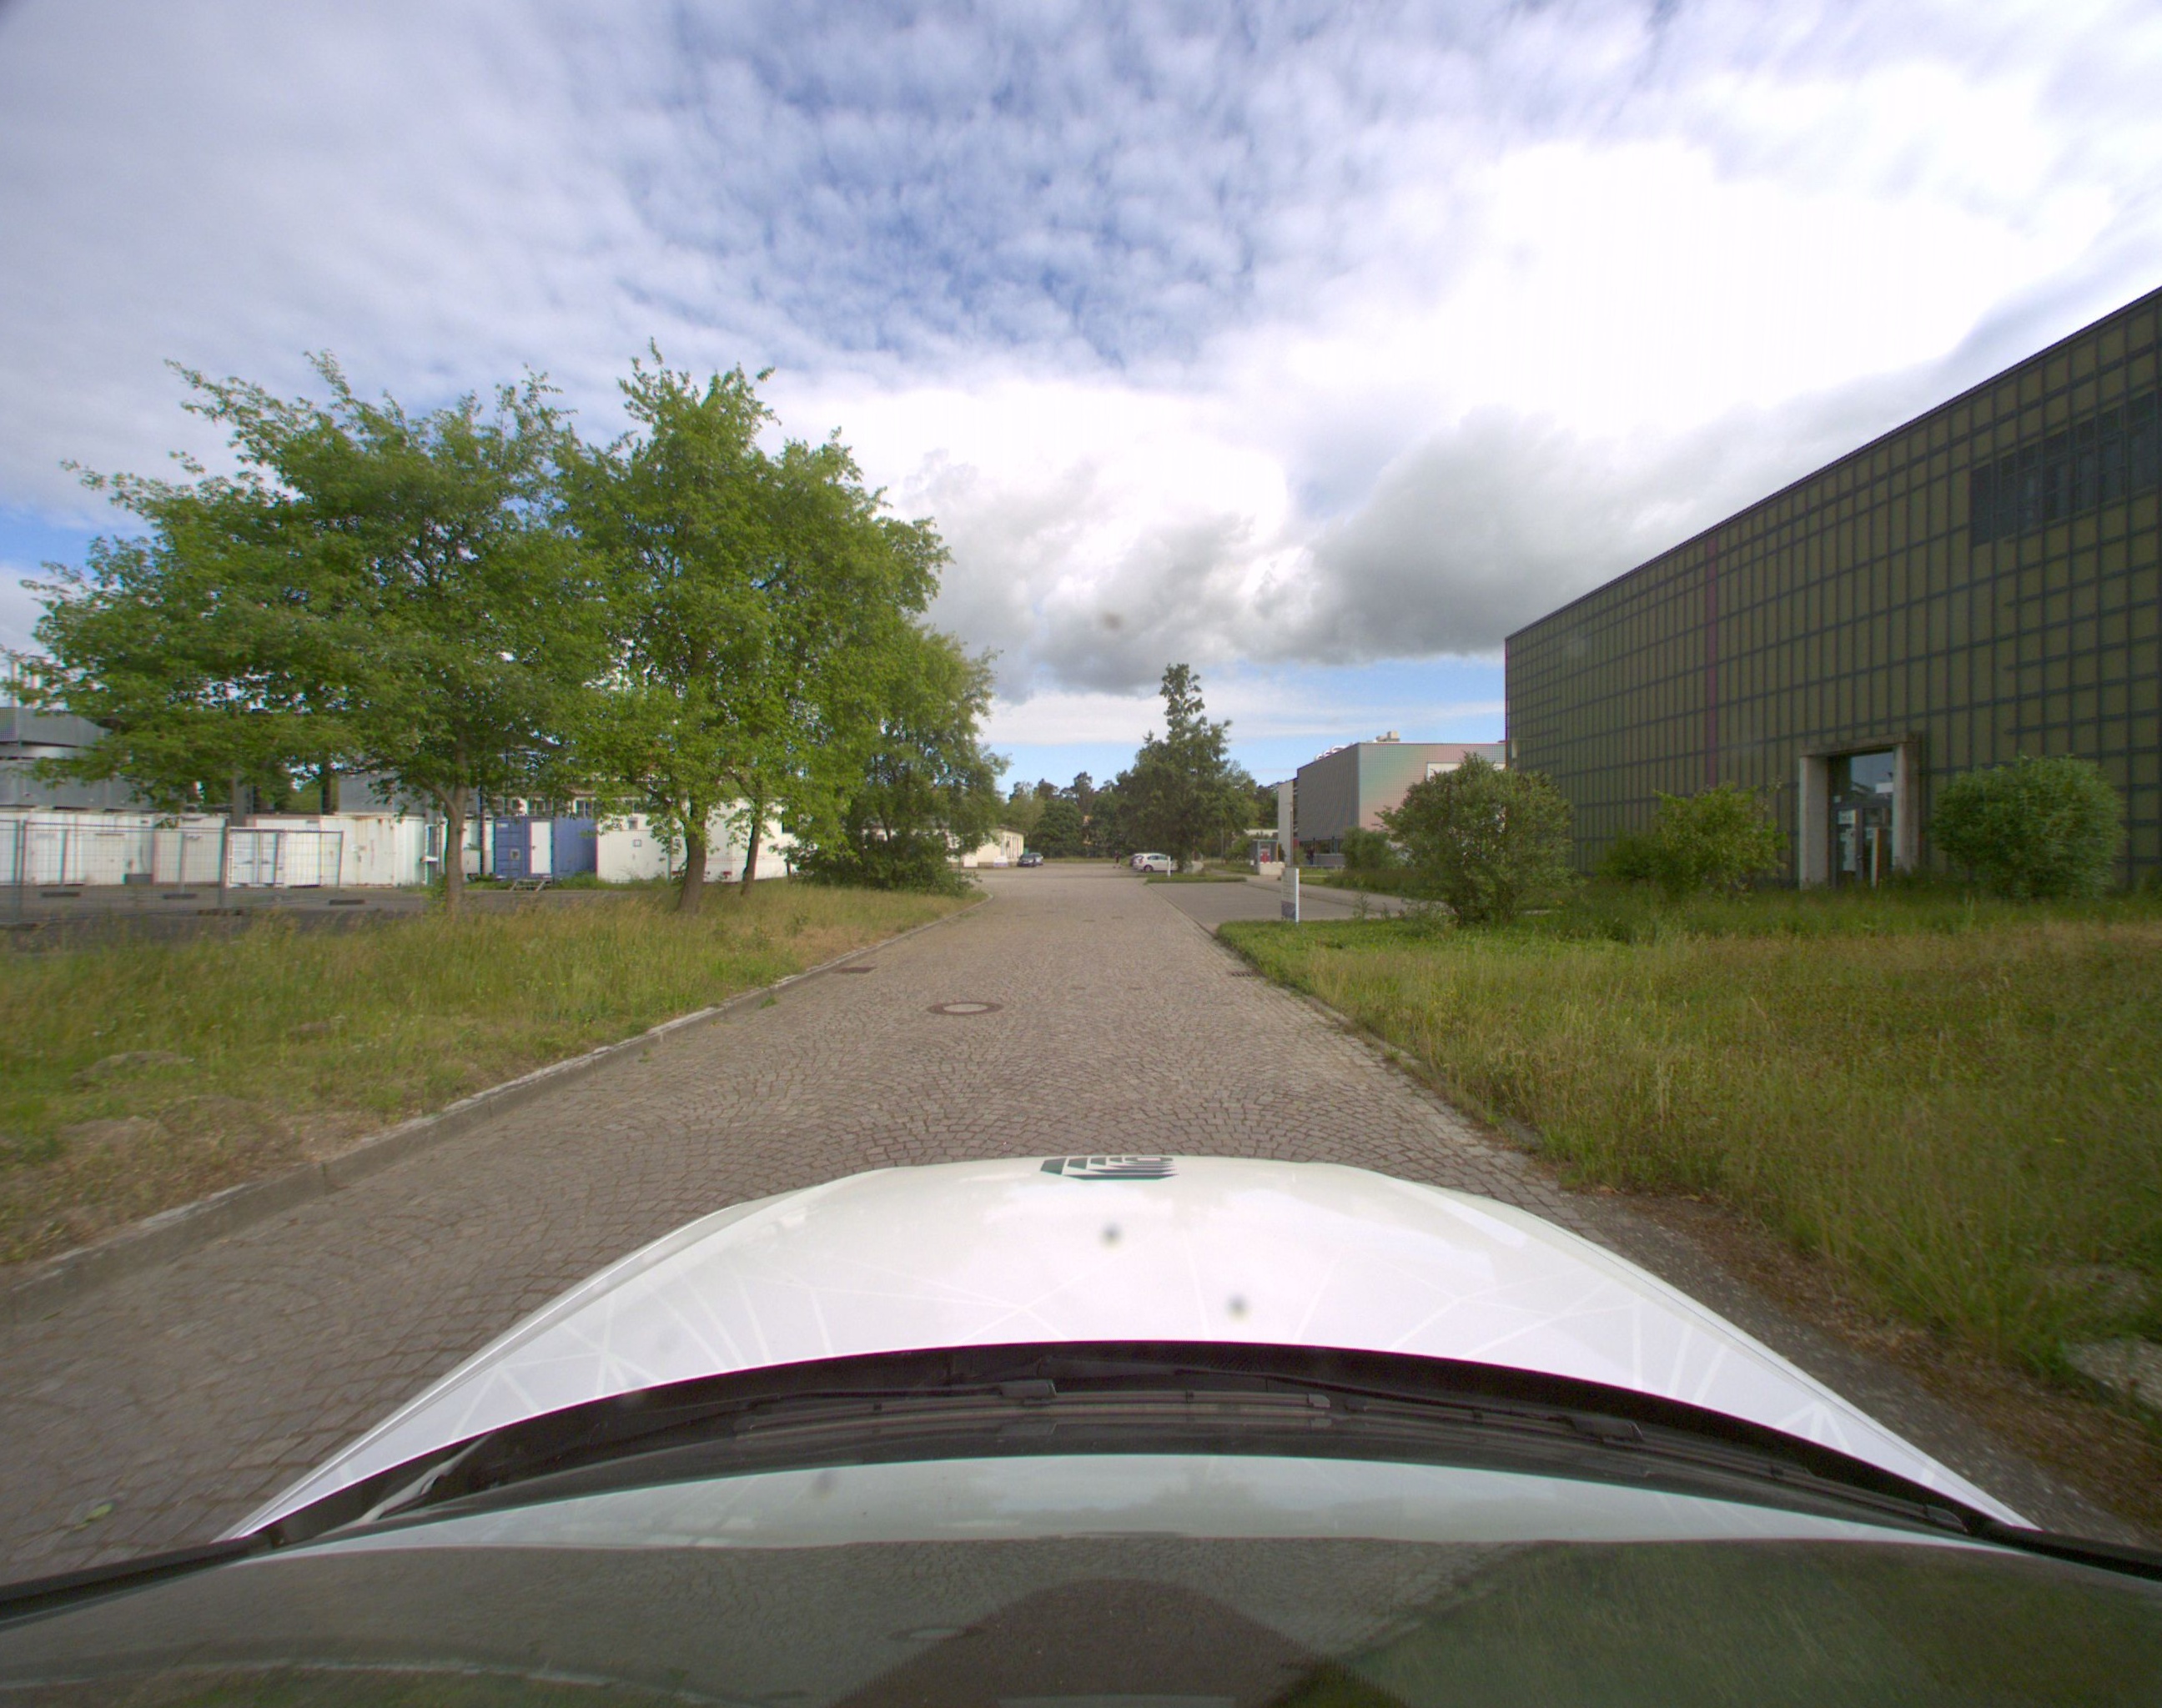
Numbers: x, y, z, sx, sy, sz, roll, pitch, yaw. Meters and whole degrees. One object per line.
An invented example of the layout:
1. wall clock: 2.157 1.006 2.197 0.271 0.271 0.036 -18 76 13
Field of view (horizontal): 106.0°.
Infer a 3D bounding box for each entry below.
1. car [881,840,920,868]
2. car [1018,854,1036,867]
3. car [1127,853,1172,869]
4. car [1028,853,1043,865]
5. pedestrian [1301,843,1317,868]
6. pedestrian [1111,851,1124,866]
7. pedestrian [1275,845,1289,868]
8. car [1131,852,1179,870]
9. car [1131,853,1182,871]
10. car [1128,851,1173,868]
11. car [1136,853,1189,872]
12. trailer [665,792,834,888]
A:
1. car: -16.931 0.029 76.489 1.984 2.523 5.625 0 0 5
2. car: -5.815 0.649 87.955 1.744 1.364 3.998 0 0 -1
3. car: 6.167 0.633 73.957 3.972 1.455 1.770 0 0 1
4. car: -5.466 0.625 98.185 1.744 1.454 3.998 0 0 -1
5. pedestrian: 17.942 0.145 64.076 0.922 1.936 0.847 0 0 -29
6. pedestrian: 3.668 0.440 81.799 0.947 1.568 0.960 0 0 -35
7. pedestrian: 17.850 0.247 72.307 0.919 2.013 1.145 0 0 -5
8. car: 6.234 0.578 69.051 3.972 1.455 1.770 0 0 1
9. car: 6.108 0.626 66.011 3.972 1.455 1.698 0 0 1
10. car: 6.564 0.509 77.169 3.978 1.533 1.998 0 0 -3
11. car: 6.353 0.689 63.838 3.972 1.455 2.000 1 -1 1
12. trailer: -14.457 -0.537 36.856 2.645 3.705 10.731 0 0 4
